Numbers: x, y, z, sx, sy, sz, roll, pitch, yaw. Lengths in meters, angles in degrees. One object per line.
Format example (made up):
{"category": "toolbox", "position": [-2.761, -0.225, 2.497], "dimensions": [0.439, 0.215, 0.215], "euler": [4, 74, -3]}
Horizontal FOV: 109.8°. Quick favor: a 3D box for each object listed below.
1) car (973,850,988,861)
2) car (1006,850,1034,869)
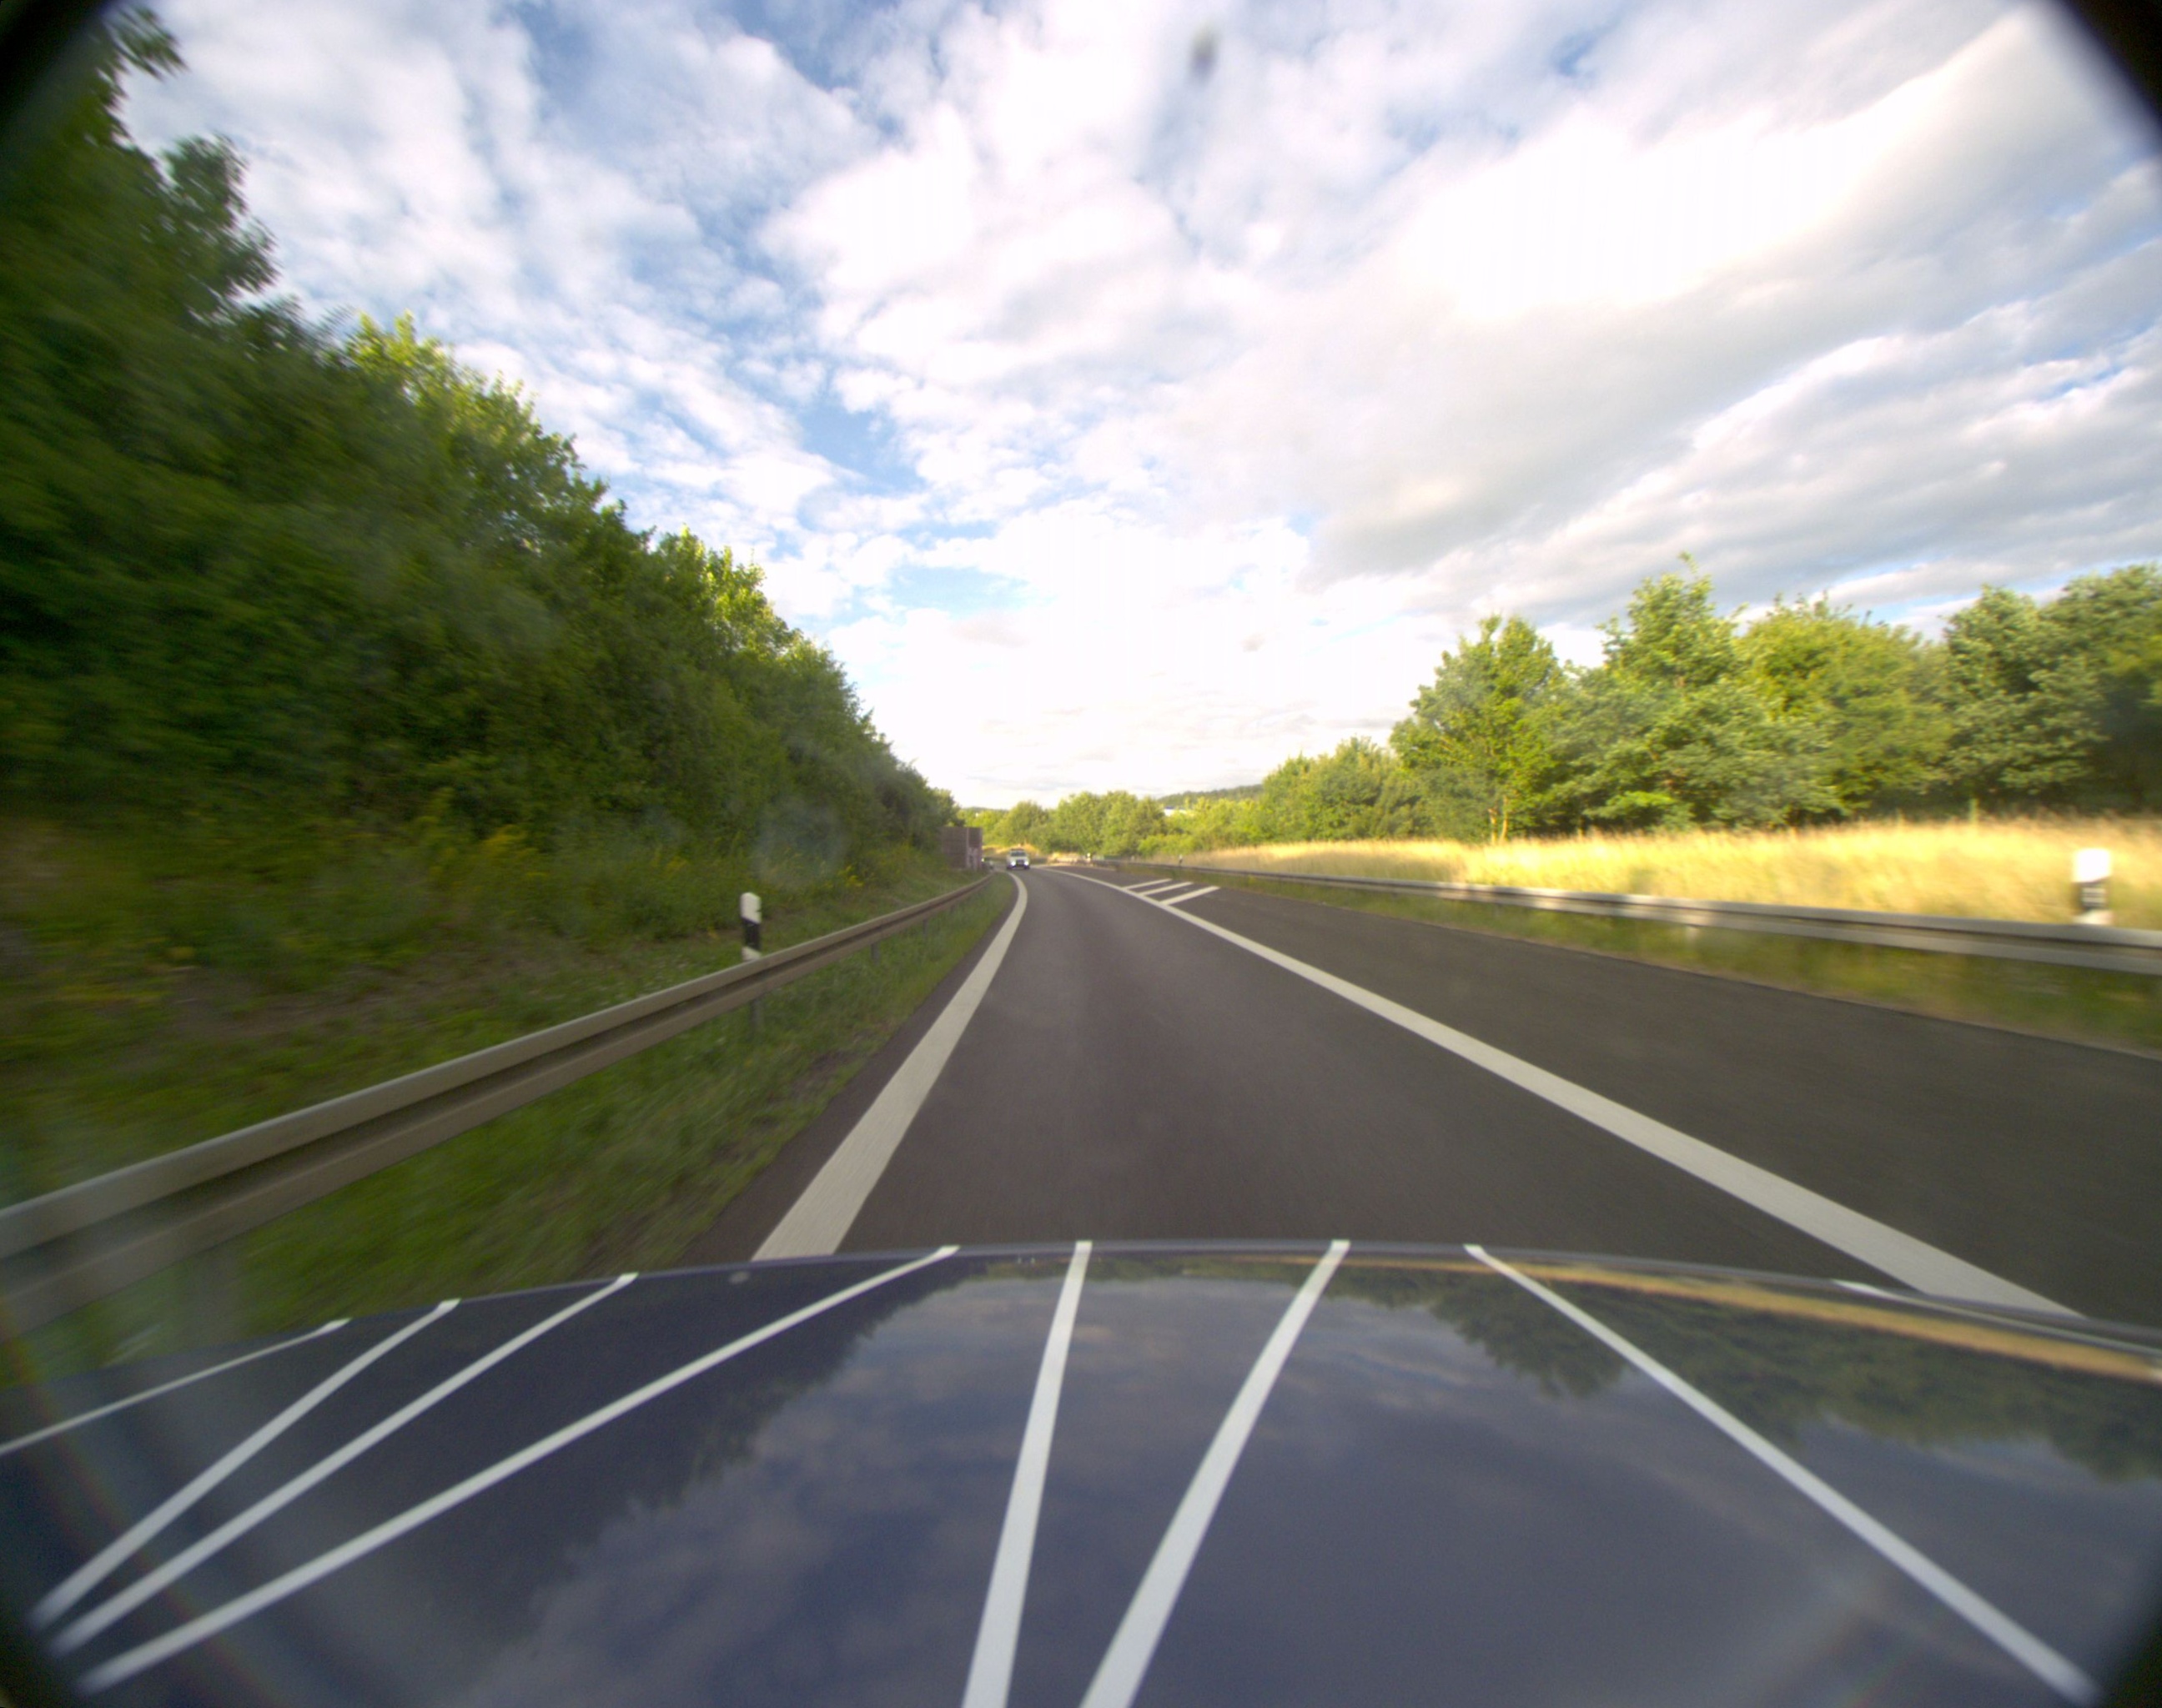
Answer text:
{"category": "car", "position": [-14.712, 0.178, 111.143], "dimensions": [1.622, 1.451, 3.657], "euler": [-2, 1, -18]}
{"category": "car", "position": [-5.747, 0.512, 71.337], "dimensions": [1.907, 1.655, 3.995], "euler": [-4, 1, -15]}
